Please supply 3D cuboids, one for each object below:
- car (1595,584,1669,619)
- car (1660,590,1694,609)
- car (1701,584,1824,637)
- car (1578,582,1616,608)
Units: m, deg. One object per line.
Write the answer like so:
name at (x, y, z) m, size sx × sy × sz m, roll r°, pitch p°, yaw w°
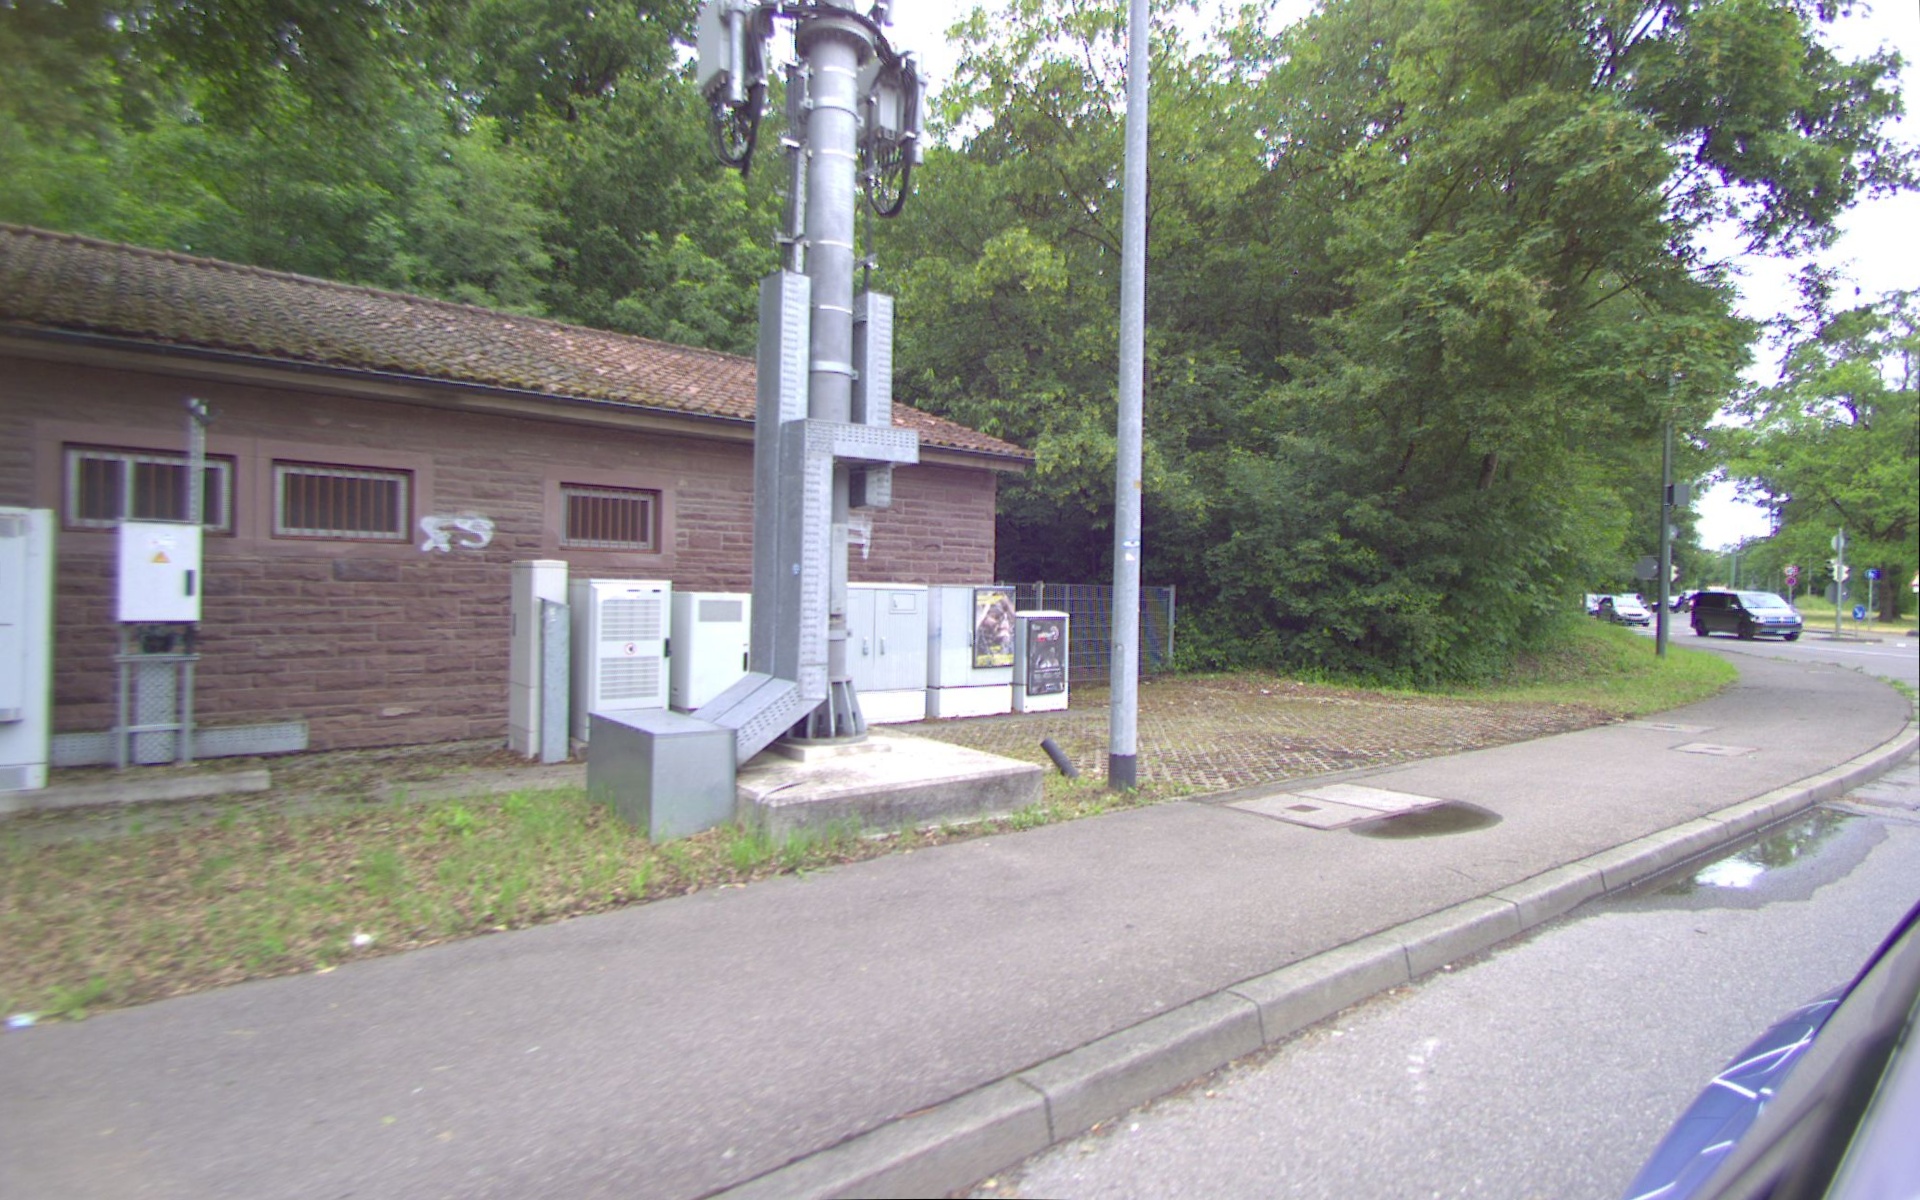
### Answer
car at (34.882, 0.085, 52.643) m, size 1.767 × 1.695 × 3.976 m, roll 2°, pitch 0°, yaw 12°
car at (59.403, -0.048, 83.860) m, size 1.774 × 1.518 × 3.813 m, roll 3°, pitch 2°, yaw 43°
car at (32.469, 0.360, 41.137) m, size 1.960 × 1.896 × 4.518 m, roll 2°, pitch 2°, yaw 11°
car at (39.511, -0.334, 62.736) m, size 1.769 × 1.518 × 3.823 m, roll 3°, pitch 2°, yaw 35°
